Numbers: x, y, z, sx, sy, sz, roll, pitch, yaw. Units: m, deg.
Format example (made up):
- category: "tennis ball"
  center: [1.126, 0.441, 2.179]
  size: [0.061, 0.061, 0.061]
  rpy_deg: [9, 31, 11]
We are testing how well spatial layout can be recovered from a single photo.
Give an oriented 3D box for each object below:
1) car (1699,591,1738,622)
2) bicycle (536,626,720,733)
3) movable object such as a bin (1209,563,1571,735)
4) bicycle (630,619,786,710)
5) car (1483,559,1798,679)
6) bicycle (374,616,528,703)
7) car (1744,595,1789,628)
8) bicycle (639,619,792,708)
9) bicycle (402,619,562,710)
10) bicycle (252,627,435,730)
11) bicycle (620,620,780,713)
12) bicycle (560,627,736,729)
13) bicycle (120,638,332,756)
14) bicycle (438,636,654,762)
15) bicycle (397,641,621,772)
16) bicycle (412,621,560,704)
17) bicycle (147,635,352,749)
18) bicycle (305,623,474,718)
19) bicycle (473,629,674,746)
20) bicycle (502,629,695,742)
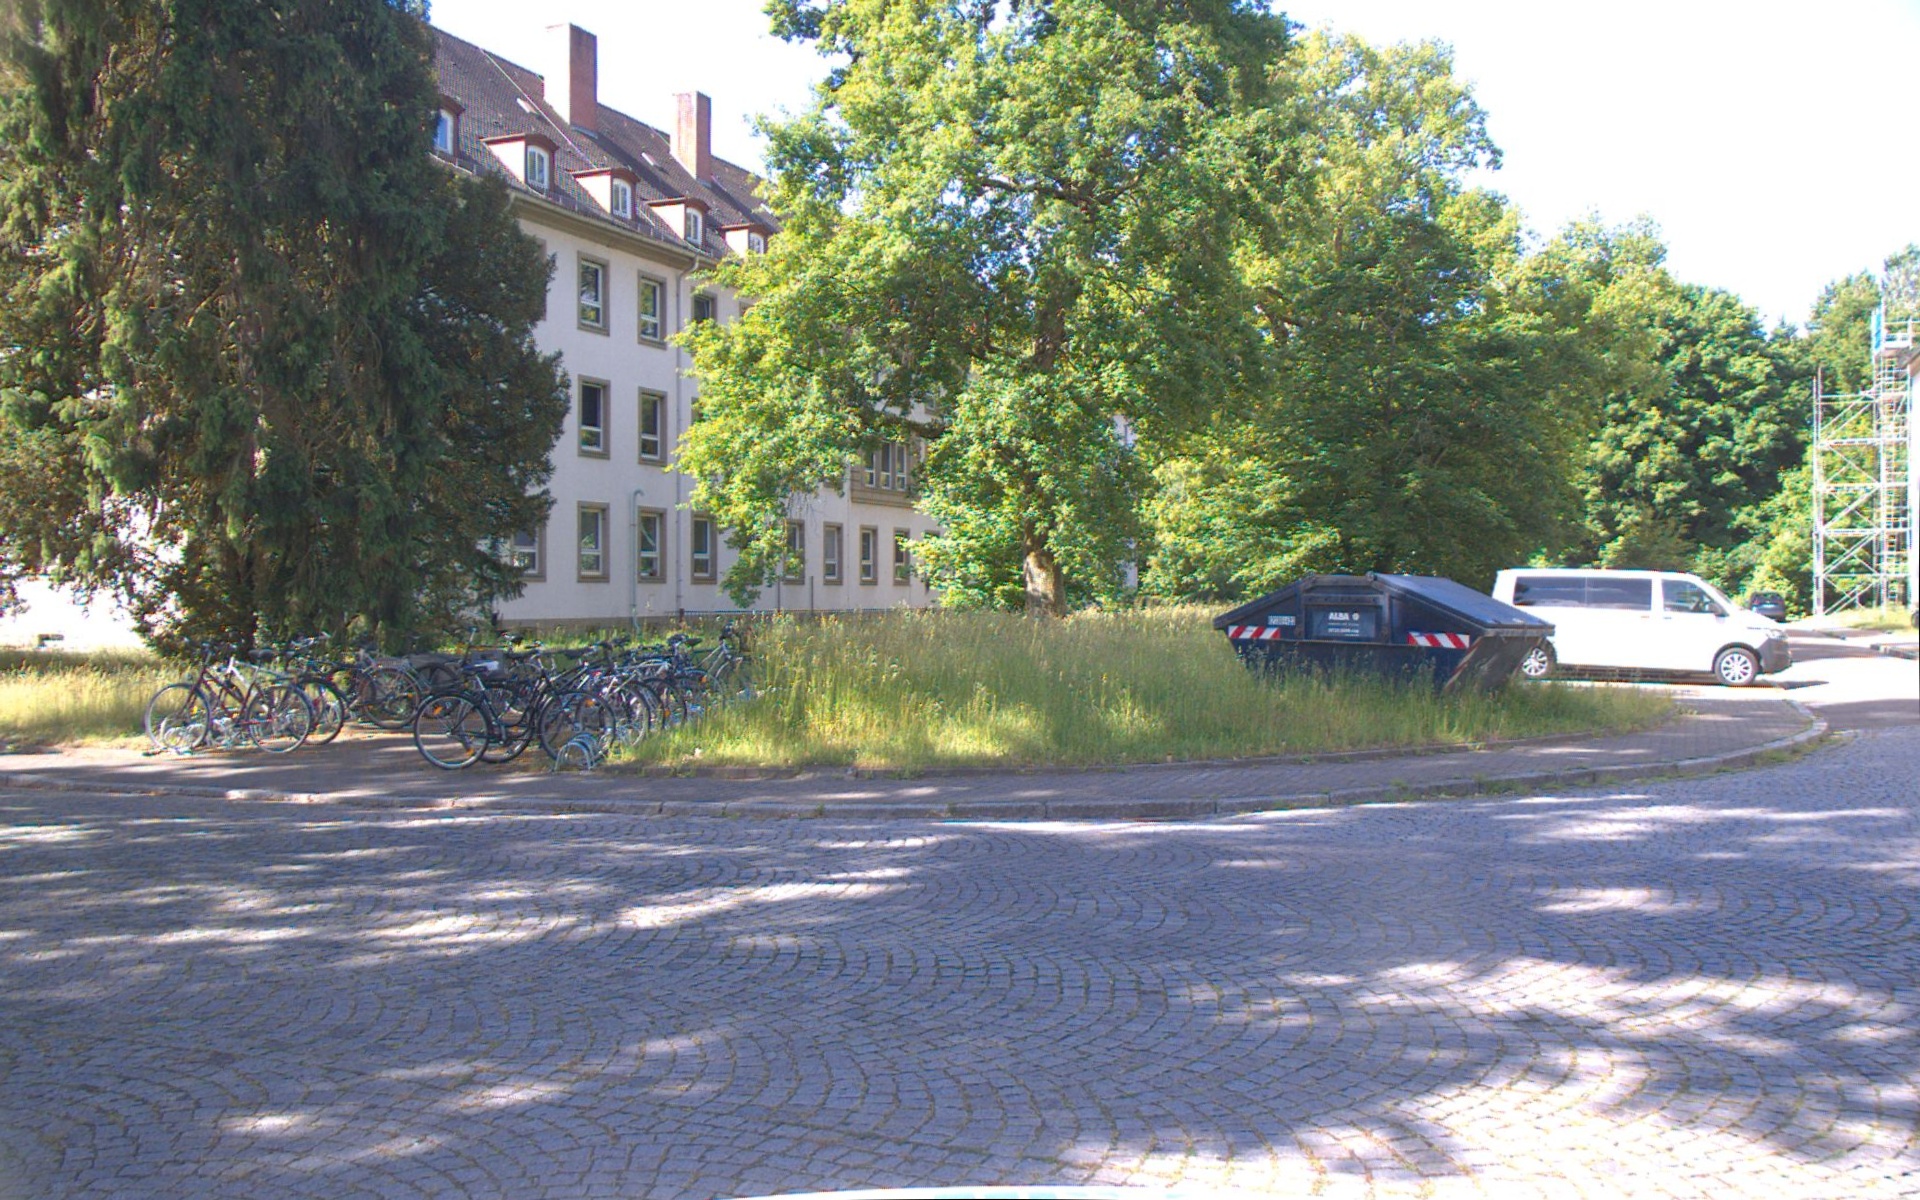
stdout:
- category: "car"
  center: [40.997, 0.338, 89.485]
  size: [1.775, 1.607, 4.133]
  rpy_deg: [-1, 0, 23]
- category: "bicycle"
  center: [-3.601, 0.860, 18.012]
  size: [1.873, 1.076, 0.476]
  rpy_deg: [-2, 0, 1]
- category: "movable object such as a bin"
  center: [4.898, 0.510, 19.034]
  size: [3.514, 1.775, 2.012]
  rpy_deg: [-1, 0, 43]
- category: "bicycle"
  center: [-3.221, 0.825, 21.179]
  size: [1.873, 1.076, 0.476]
  rpy_deg: [-2, 0, 3]
- category: "car"
  center: [12.285, 0.315, 30.059]
  size: [5.129, 2.051, 1.949]
  rpy_deg: [0, 0, 24]
- category: "bicycle"
  center: [-6.770, 0.784, 22.047]
  size: [1.872, 1.122, 0.571]
  rpy_deg: [0, 1, 5]
- category: "car"
  center: [43.266, 0.604, 88.786]
  size: [1.931, 1.697, 4.085]
  rpy_deg: [-1, 0, 23]
- category: "bicycle"
  center: [-3.192, 0.824, 21.647]
  size: [1.873, 1.076, 0.476]
  rpy_deg: [-2, 0, 3]
- category: "bicycle"
  center: [-6.108, 0.818, 21.182]
  size: [1.872, 1.122, 0.571]
  rpy_deg: [0, 1, 5]
- category: "bicycle"
  center: [-7.061, 0.894, 18.999]
  size: [1.875, 1.122, 0.570]
  rpy_deg: [0, 1, -4]
- category: "bicycle"
  center: [-3.242, 0.824, 20.677]
  size: [1.873, 1.076, 0.476]
  rpy_deg: [-2, 0, 3]
- category: "bicycle"
  center: [-3.554, 0.888, 18.881]
  size: [1.873, 1.076, 0.476]
  rpy_deg: [-2, 0, 3]
- category: "bicycle"
  center: [-7.437, 0.974, 16.805]
  size: [1.874, 1.122, 0.570]
  rpy_deg: [-1, 1, 0]
- category: "bicycle"
  center: [-3.877, 0.921, 15.565]
  size: [1.876, 1.076, 0.475]
  rpy_deg: [-2, 0, -5]
- category: "bicycle"
  center: [-4.083, 0.954, 15.049]
  size: [1.876, 1.076, 0.475]
  rpy_deg: [-2, 0, -5]
- category: "bicycle"
  center: [-6.582, 0.860, 23.000]
  size: [1.873, 1.122, 0.570]
  rpy_deg: [0, 1, 0]
- category: "bicycle"
  center: [-7.432, 0.954, 17.346]
  size: [1.874, 1.122, 0.570]
  rpy_deg: [-1, 1, 0]
- category: "bicycle"
  center: [-7.020, 0.860, 20.405]
  size: [1.875, 1.122, 0.570]
  rpy_deg: [0, 1, -4]
- category: "bicycle"
  center: [-3.876, 0.871, 16.652]
  size: [1.873, 1.076, 0.476]
  rpy_deg: [-2, 0, 1]
- category: "bicycle"
  center: [-3.749, 0.885, 17.213]
  size: [1.873, 1.076, 0.476]
  rpy_deg: [-2, 0, 1]
